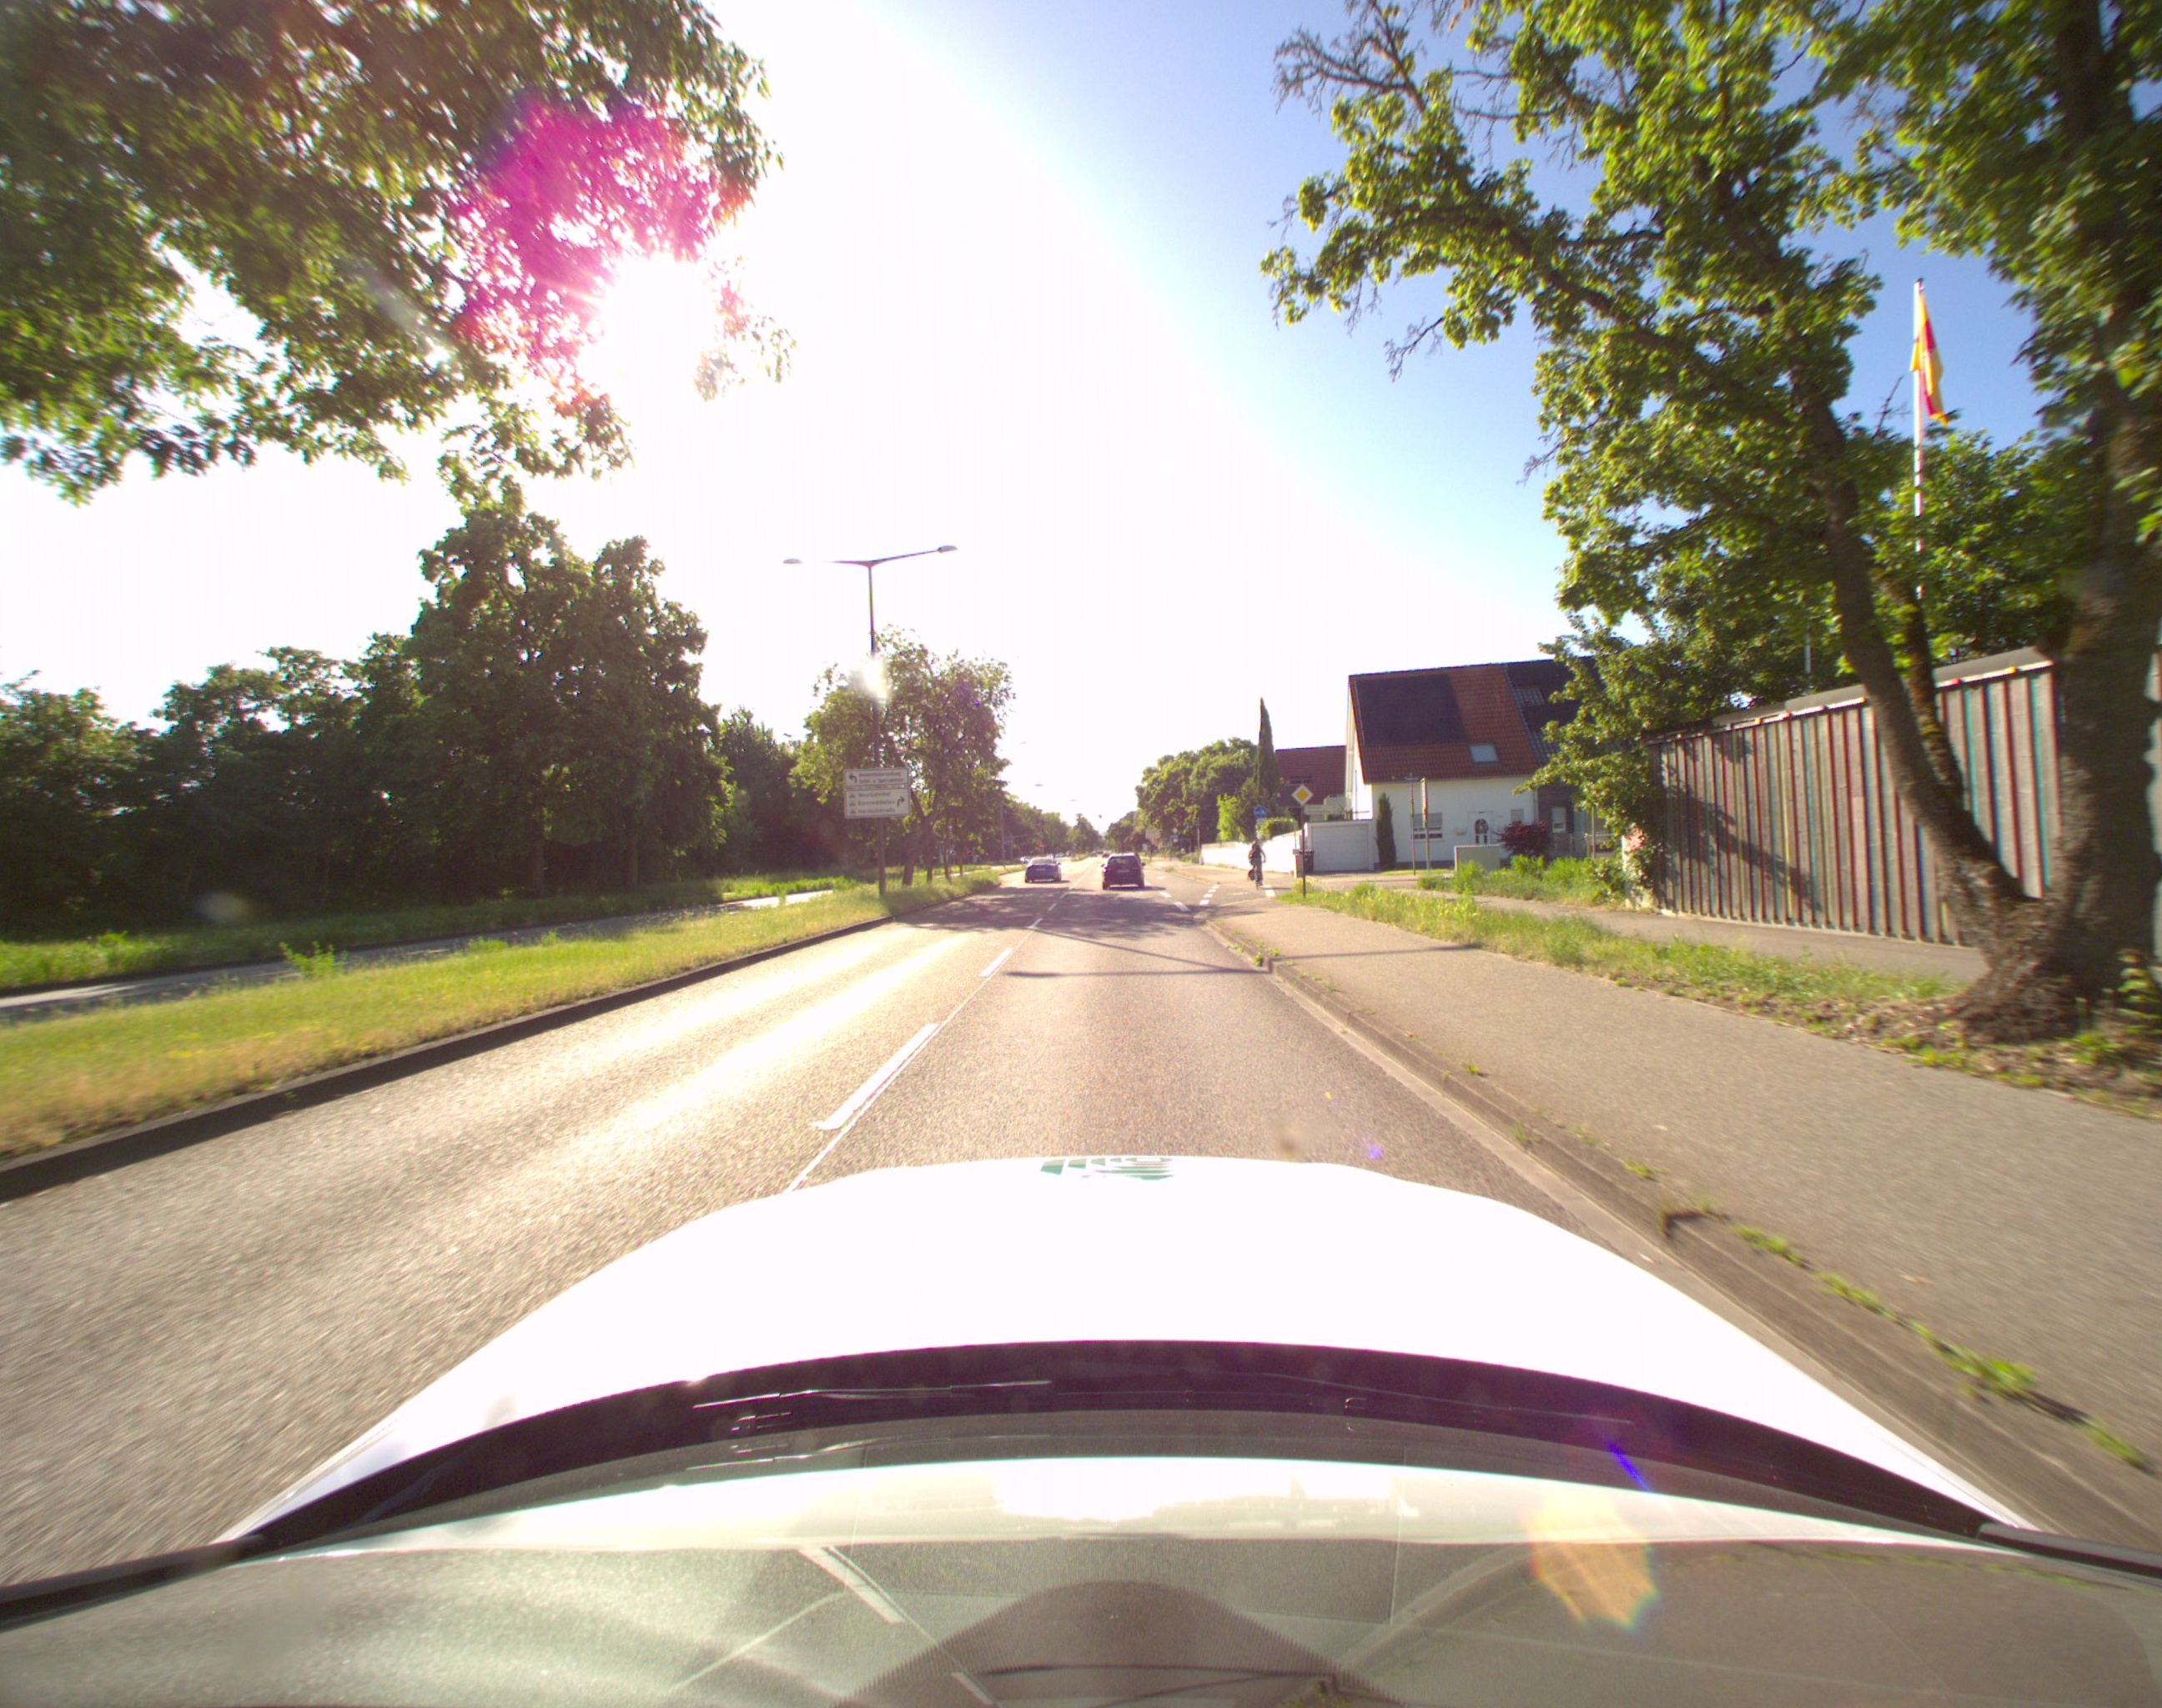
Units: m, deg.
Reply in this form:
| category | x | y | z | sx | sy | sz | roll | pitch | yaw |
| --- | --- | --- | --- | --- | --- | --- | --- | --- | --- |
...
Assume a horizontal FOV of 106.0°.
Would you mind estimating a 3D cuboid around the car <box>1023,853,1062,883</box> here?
| category | x | y | z | sx | sy | sz | roll | pitch | yaw |
| --- | --- | --- | --- | --- | --- | --- | --- | --- | --- |
| car | -2.141 | 0.772 | 46.661 | 1.881 | 1.552 | 4.001 | -2 | -1 | 2 |

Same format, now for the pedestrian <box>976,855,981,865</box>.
| category | x | y | z | sx | sy | sz | roll | pitch | yaw |
| --- | --- | --- | --- | --- | --- | --- | --- | --- | --- |
| pedestrian | -20.096 | 1.182 | 159.587 | 0.842 | 1.835 | 0.550 | -2 | -2 | 4 |

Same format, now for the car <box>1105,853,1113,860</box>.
| category | x | y | z | sx | sy | sz | roll | pitch | yaw |
| --- | --- | --- | --- | --- | --- | --- | --- | --- | --- |
| car | 6.820 | 0.636 | 199.195 | 1.726 | 1.585 | 3.841 | 0 | 0 | 1 |

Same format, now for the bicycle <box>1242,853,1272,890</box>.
| category | x | y | z | sx | sy | sz | roll | pitch | yaw |
| --- | --- | --- | --- | --- | --- | --- | --- | --- | --- |
| bicycle | 6.295 | 0.590 | 29.017 | 0.569 | 1.155 | 2.153 | -5 | 0 | 23 |

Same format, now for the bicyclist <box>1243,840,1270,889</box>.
| category | x | y | z | sx | sy | sz | roll | pitch | yaw |
| --- | --- | --- | --- | --- | --- | --- | --- | --- | --- |
| bicyclist | 6.247 | 0.358 | 28.959 | 0.624 | 1.632 | 0.987 | -5 | 0 | 23 |

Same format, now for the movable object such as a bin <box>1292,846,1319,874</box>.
| category | x | y | z | sx | sy | sz | roll | pitch | yaw |
| --- | --- | --- | --- | --- | --- | --- | --- | --- | --- |
| movable object such as a bin | 10.334 | 0.258 | 37.534 | 0.996 | 1.205 | 1.065 | -4 | -1 | 9 |

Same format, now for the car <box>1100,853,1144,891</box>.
| category | x | y | z | sx | sy | sz | roll | pitch | yaw |
| --- | --- | --- | --- | --- | --- | --- | --- | --- | --- |
| car | 1.722 | 0.747 | 35.052 | 1.749 | 1.509 | 3.810 | -1 | -1 | 2 |

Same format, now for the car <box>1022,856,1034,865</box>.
| category | x | y | z | sx | sy | sz | roll | pitch | yaw |
| --- | --- | --- | --- | --- | --- | --- | --- | --- | --- |
| car | -10.361 | 1.225 | 158.398 | 1.904 | 1.703 | 4.410 | 0 | -1 | 2 |

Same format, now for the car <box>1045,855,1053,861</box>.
| category | x | y | z | sx | sy | sz | roll | pitch | yaw |
| --- | --- | --- | --- | --- | --- | --- | --- | --- | --- |
| car | -8.863 | 1.119 | 226.948 | 1.857 | 1.684 | 4.262 | -2 | 0 | 2 |

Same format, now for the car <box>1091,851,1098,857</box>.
| category | x | y | z | sx | sy | sz | roll | pitch | yaw |
| --- | --- | --- | --- | --- | --- | --- | --- | --- | --- |
| car | 3.730 | -0.098 | 227.380 | 1.818 | 1.615 | 3.841 | -2 | 0 | 1 |

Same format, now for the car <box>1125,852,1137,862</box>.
| category | x | y | z | sx | sy | sz | roll | pitch | yaw |
| --- | --- | --- | --- | --- | --- | --- | --- | --- | --- |
| car | 7.430 | 0.422 | 120.823 | 1.724 | 1.459 | 3.845 | -2 | 0 | 5 |
